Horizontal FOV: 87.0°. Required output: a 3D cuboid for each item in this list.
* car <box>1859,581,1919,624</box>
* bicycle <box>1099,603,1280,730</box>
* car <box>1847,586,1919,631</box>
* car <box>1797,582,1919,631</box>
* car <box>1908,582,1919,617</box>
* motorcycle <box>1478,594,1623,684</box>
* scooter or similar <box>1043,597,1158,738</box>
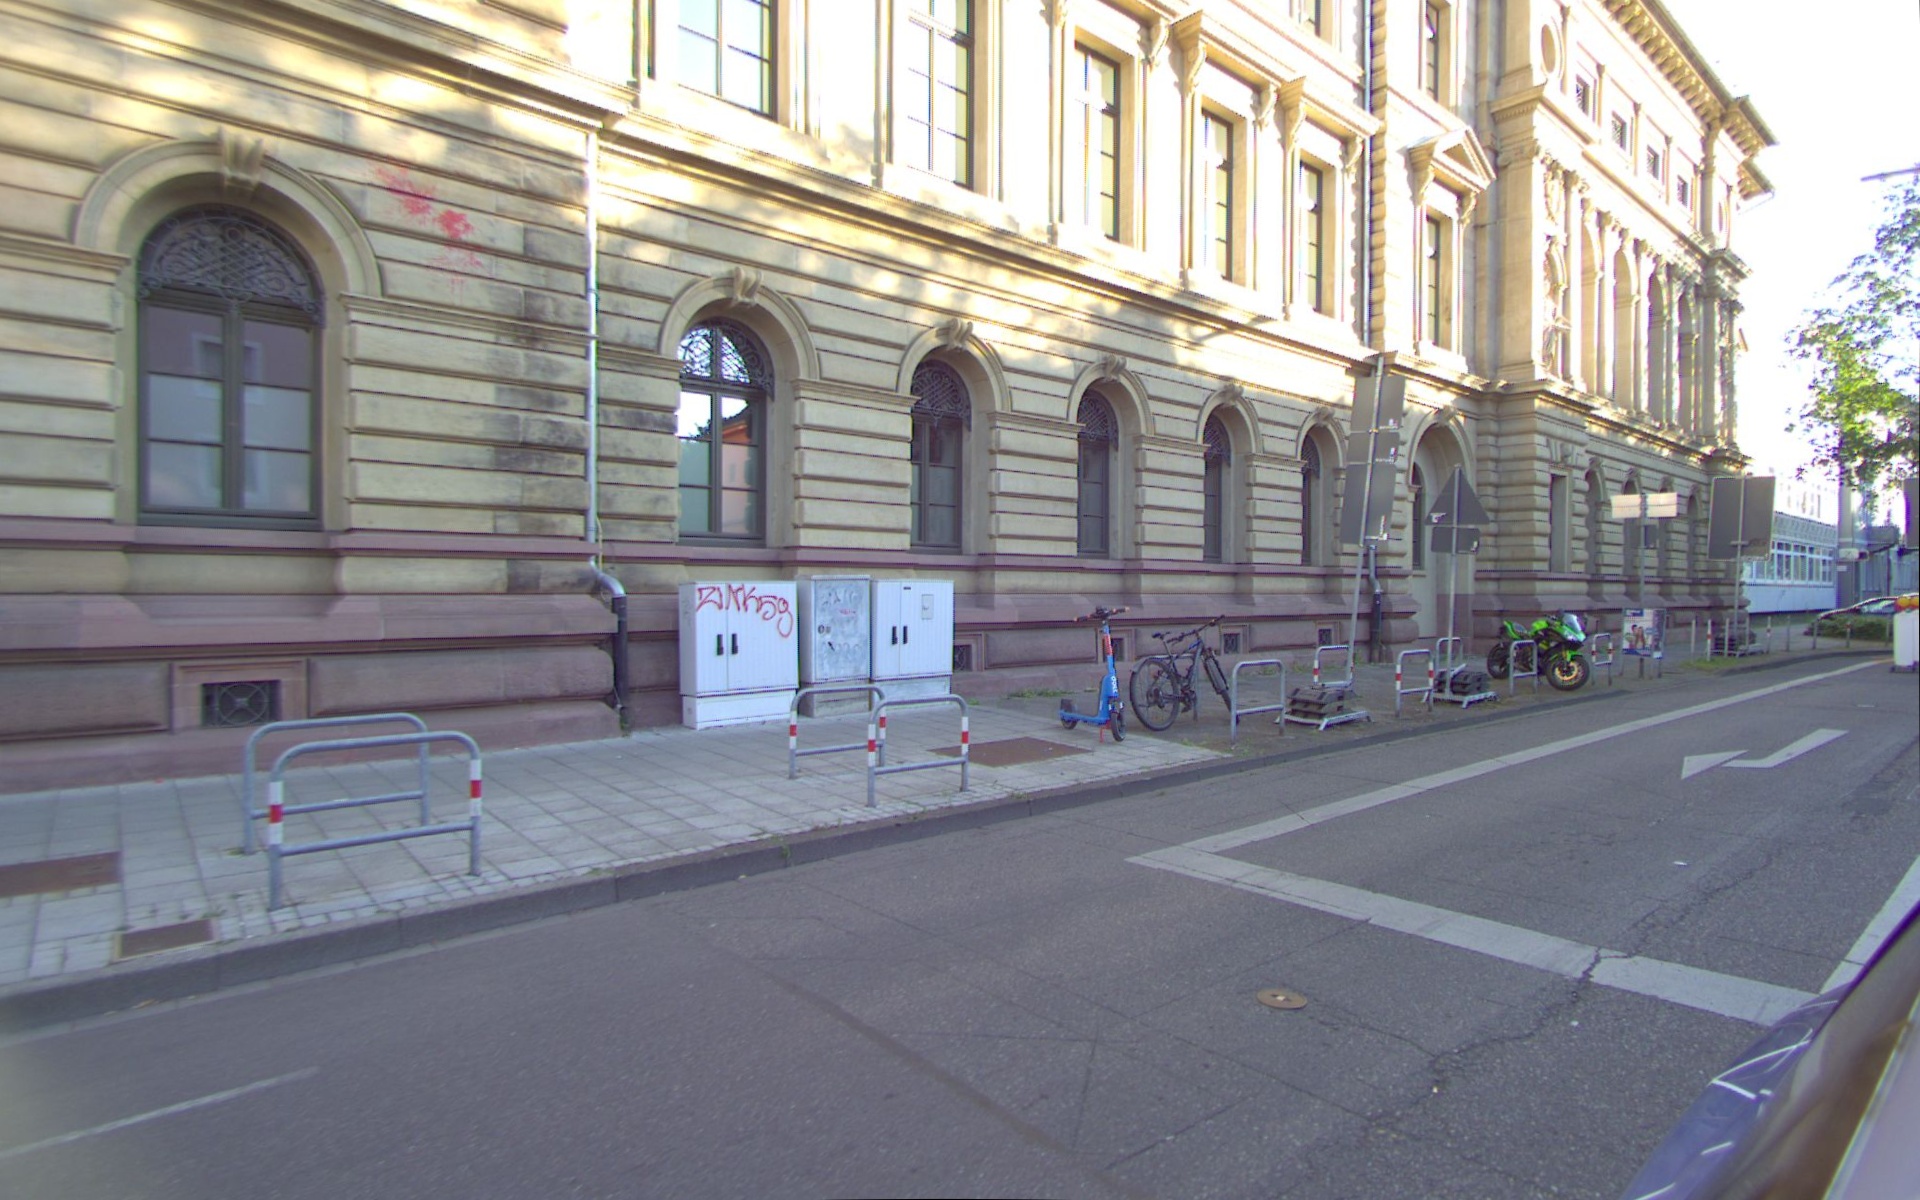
[{"bbox_3d":[38.990,0.140,40.448,2.020,1.662,4.364,0,3,-42],"label":"car"},{"bbox_3d":[2.421,0.641,10.574,1.910,1.148,0.829,0,3,-41],"label":"bicycle"},{"bbox_3d":[34.521,0.351,35.892,1.643,1.513,4.367,-1,3,-40],"label":"car"},{"bbox_3d":[31.897,0.223,35.000,1.804,1.482,4.362,-1,4,-44],"label":"car"},{"bbox_3d":[47.327,0.044,47.210,1.704,1.644,4.364,0,3,-42],"label":"car"},{"bbox_3d":[9.139,0.564,15.782,0.695,1.230,2.109,1,2,-11],"label":"motorcycle"},{"bbox_3d":[1.322,0.604,9.695,0.572,1.210,1.136,0,3,-22],"label":"scooter or similar"}]
